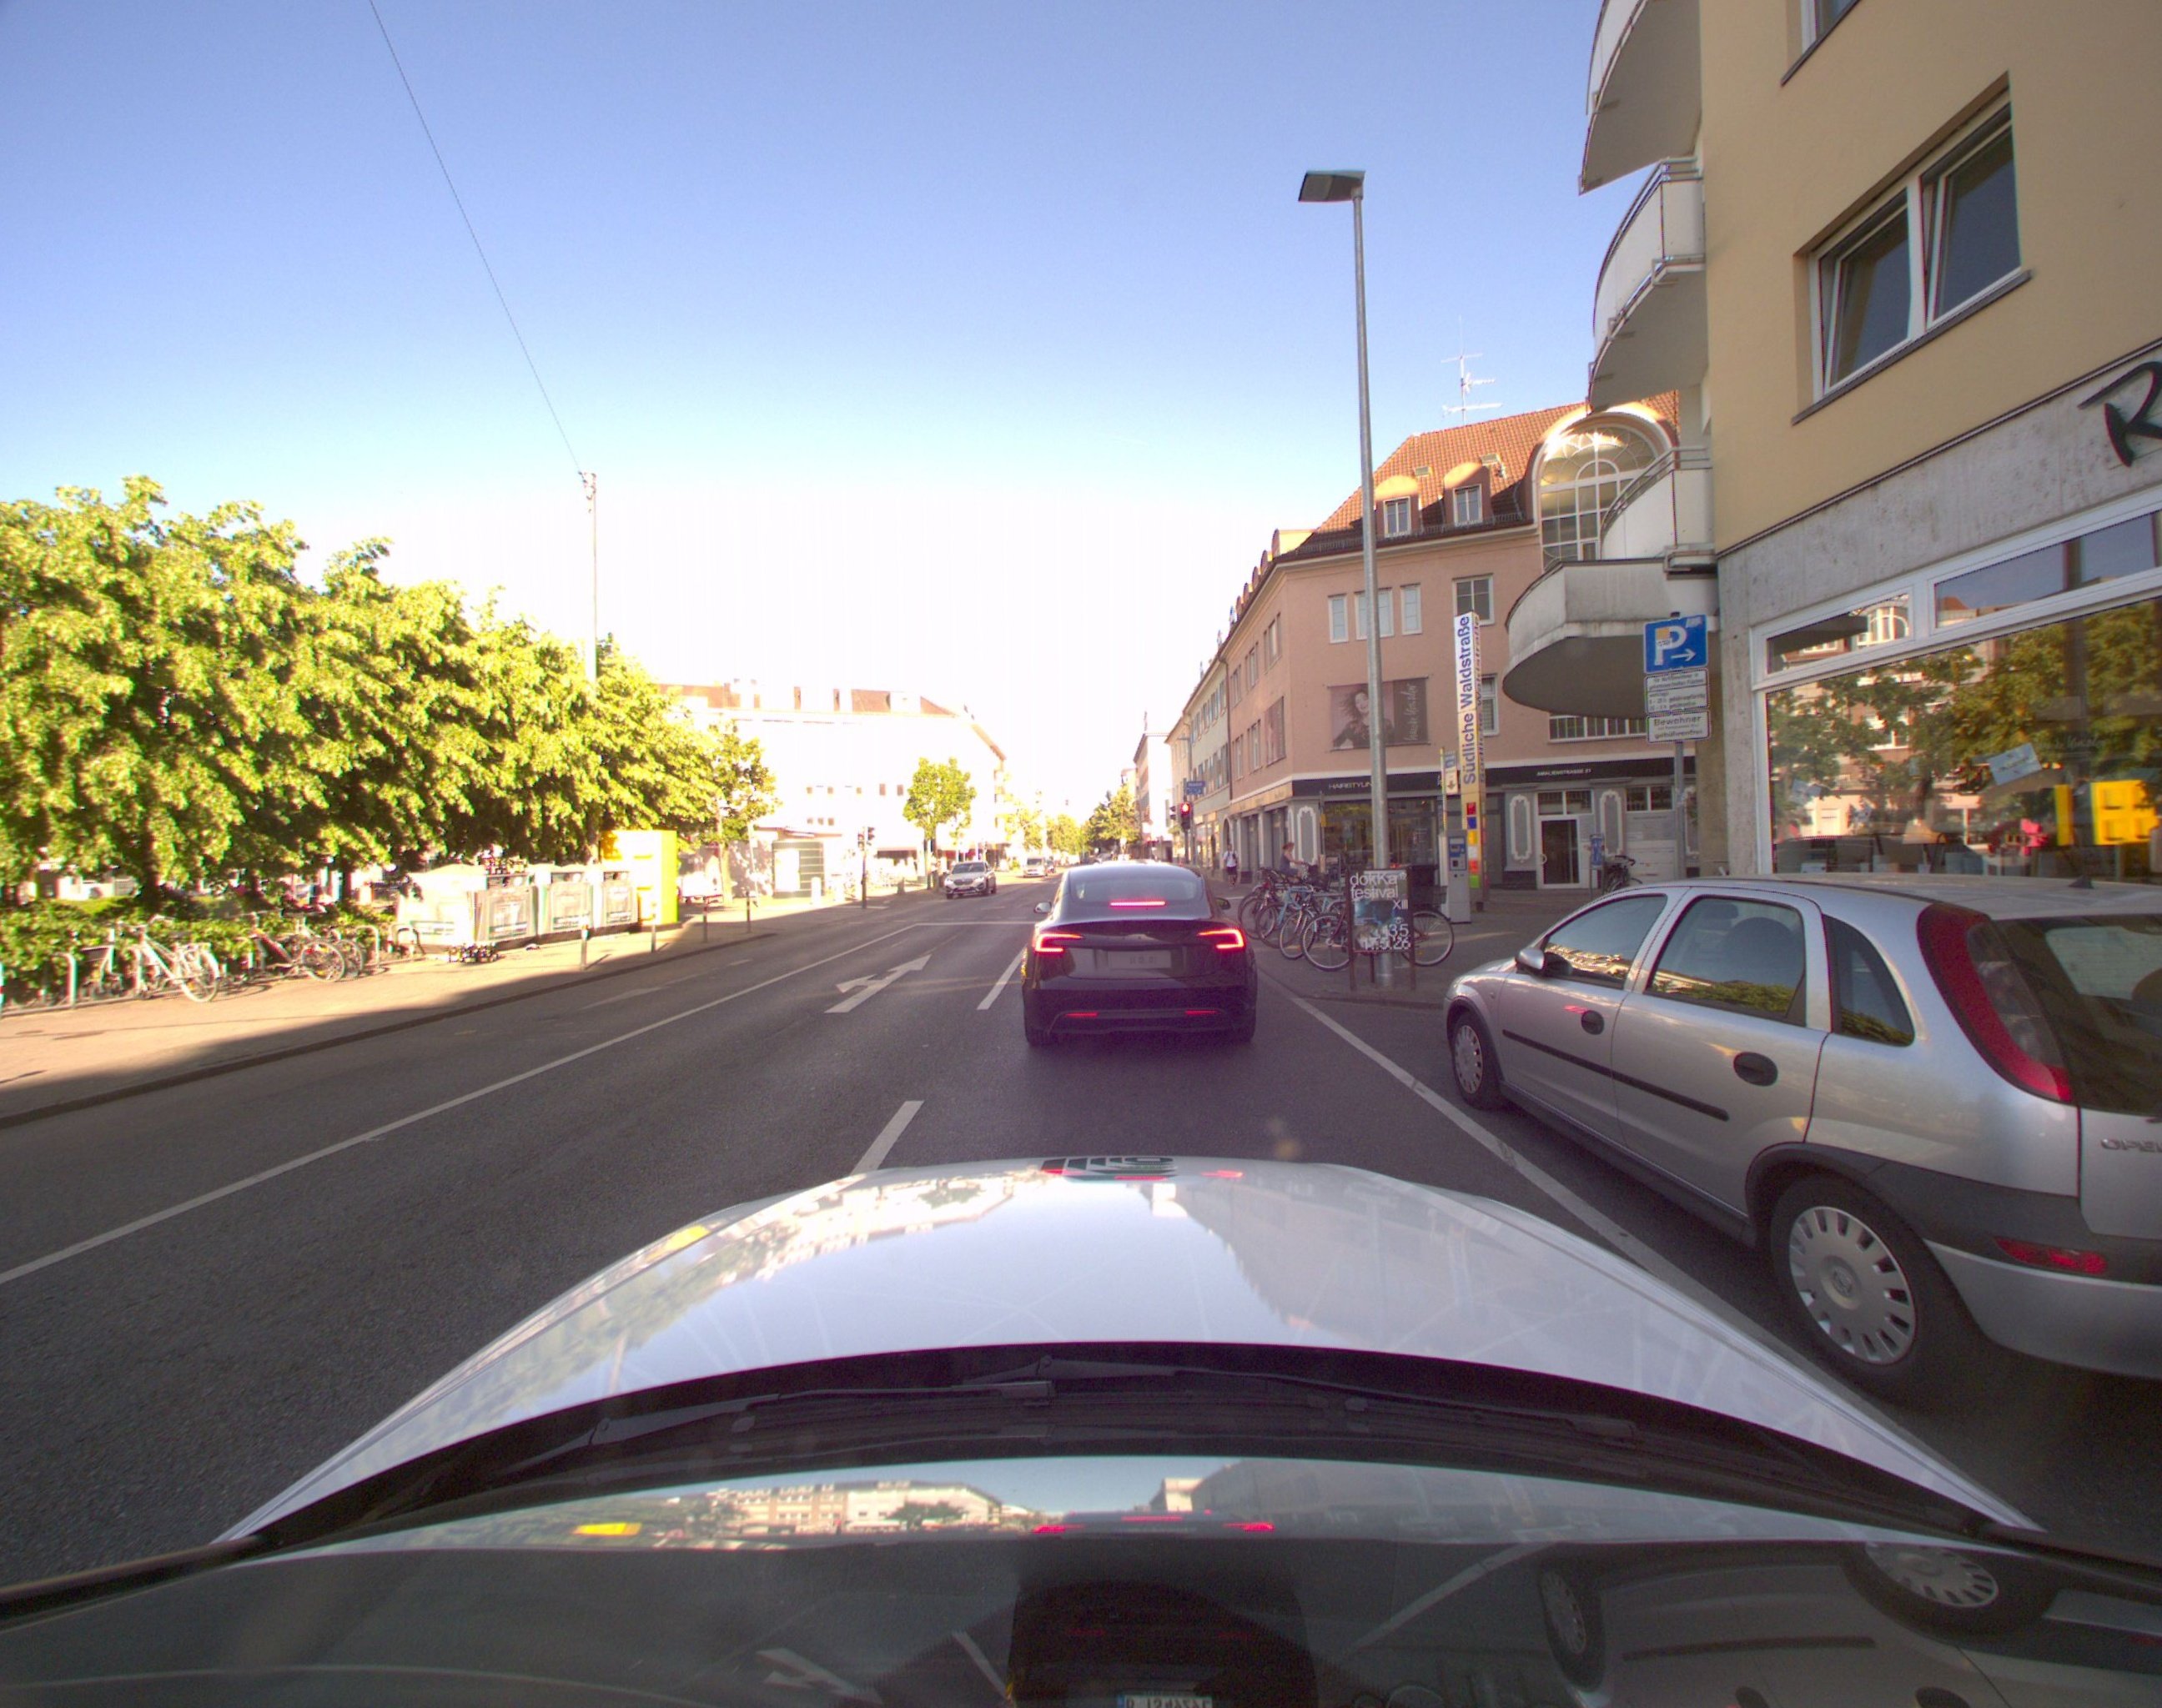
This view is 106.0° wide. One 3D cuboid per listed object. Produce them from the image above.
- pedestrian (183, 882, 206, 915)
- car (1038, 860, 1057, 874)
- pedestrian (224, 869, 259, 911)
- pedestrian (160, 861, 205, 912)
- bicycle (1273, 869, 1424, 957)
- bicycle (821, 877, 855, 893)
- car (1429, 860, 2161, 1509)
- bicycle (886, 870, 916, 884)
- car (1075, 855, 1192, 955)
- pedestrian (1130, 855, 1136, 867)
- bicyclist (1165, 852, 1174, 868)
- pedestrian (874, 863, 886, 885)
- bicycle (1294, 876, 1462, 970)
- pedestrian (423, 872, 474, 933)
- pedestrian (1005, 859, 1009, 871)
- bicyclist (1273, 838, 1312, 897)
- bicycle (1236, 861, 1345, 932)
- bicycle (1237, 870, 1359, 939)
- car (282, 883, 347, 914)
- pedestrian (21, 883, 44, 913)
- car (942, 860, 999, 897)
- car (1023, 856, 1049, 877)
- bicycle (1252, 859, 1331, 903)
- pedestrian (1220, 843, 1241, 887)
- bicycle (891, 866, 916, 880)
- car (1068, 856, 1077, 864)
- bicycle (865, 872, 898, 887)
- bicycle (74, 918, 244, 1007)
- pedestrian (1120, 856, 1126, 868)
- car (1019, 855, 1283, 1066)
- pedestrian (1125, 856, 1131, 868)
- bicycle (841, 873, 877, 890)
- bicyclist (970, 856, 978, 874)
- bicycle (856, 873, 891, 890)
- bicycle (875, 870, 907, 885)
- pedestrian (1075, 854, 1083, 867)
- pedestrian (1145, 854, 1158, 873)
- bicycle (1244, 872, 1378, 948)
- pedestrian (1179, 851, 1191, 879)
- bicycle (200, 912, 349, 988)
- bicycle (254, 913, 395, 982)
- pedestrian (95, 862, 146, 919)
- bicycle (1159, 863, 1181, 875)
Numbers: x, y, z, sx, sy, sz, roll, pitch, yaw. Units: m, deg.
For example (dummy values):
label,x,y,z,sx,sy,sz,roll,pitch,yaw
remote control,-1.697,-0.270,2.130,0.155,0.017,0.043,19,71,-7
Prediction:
label,x,y,z,sx,sy,sz,roll,pitch,yaw
pedestrian,-48.863,2.442,44.890,0.842,1.717,0.761,-2,-1,35
car,-3.487,1.361,85.331,1.709,1.446,3.846,0,-1,2
pedestrian,-35.420,1.513,34.362,0.754,1.698,0.793,-1,0,25
pedestrian,-36.084,1.301,32.715,0.890,2.013,0.893,-1,0,15
bicycle,3.650,0.810,11.192,1.864,1.087,0.415,-3,-1,5
bicycle,-12.840,1.636,43.077,1.640,0.792,0.606,0,-1,-3
car,2.953,0.736,3.508,1.540,1.390,3.479,-1,-1,3
bicycle,-12.189,1.552,55.077,1.857,0.934,0.606,-1,0,0
car,0.794,0.752,13.925,1.712,1.425,3.757,-1,0,0
pedestrian,6.072,0.833,95.934,0.524,1.422,0.475,0,-1,-28
bicyclist,7.743,0.516,71.316,0.670,1.395,0.460,0,-1,-14
pedestrian,-18.321,1.839,74.239,1.060,2.014,1.049,0,-1,-18
bicycle,3.615,0.841,10.006,1.862,1.038,0.354,-3,-1,8
pedestrian,-21.734,1.642,28.004,1.051,2.014,0.971,0,-1,-10
pedestrian,-9.006,1.287,99.273,0.459,1.460,0.517,-1,0,-3
bicyclist,5.541,0.351,21.299,0.883,1.482,0.705,-2,-1,18
bicycle,3.776,0.763,14.785,1.818,1.169,0.507,-3,-1,7
bicycle,3.608,0.842,13.623,1.863,1.038,0.548,-3,-1,7
car,-37.956,2.178,40.311,3.526,1.386,1.703,-1,0,36
pedestrian,-77.909,3.259,60.497,0.891,2.171,0.882,-1,-1,26
car,-4.881,1.050,36.429,1.782,1.460,3.759,-4,-1,2
car,-3.720,0.991,68.189,1.780,1.646,4.404,-1,0,2
bicycle,5.508,0.705,21.292,1.918,1.118,0.712,-1,-1,19
pedestrian,6.152,0.455,33.568,0.747,1.765,0.838,-2,-1,6
bicycle,-17.126,1.821,78.617,2.373,1.296,0.509,0,-1,-25
car,-1.940,1.375,187.276,1.986,2.013,4.001,-1,0,2
bicycle,-12.306,1.580,50.275,1.857,0.934,0.606,0,-1,0
bicycle,-11.624,1.345,10.274,1.919,1.015,0.518,-1,-1,12
pedestrian,4.933,0.889,95.823,0.474,1.417,0.517,0,-1,-29
car,0.551,0.764,7.703,1.815,1.442,4.001,-1,-1,2
pedestrian,5.539,0.977,95.089,0.524,1.422,0.475,0,-1,-28
bicycle,-12.432,1.535,45.651,1.857,0.934,0.606,-1,0,0
bicyclist,-8.751,0.906,66.452,0.525,1.503,0.473,0,-1,-22
bicycle,-12.181,1.618,47.796,1.857,0.934,0.606,0,-1,0
bicycle,-12.269,1.533,52.629,1.857,0.934,0.606,-1,0,0
pedestrian,-0.299,0.905,108.070,0.719,1.695,0.843,-1,0,-26
pedestrian,6.019,0.782,69.415,0.756,1.631,0.951,0,-1,-16
bicycle,3.490,0.855,12.482,1.864,1.038,0.534,-3,-1,5
pedestrian,6.563,0.675,51.427,0.704,1.742,0.540,-1,-2,1
bicycle,-11.517,1.355,11.634,1.913,1.003,0.518,-1,-1,11
bicycle,-11.322,1.376,12.198,1.888,0.955,0.518,-1,-1,11
pedestrian,-34.898,1.319,29.591,0.890,2.013,0.893,-1,0,15
bicycle,7.796,1.290,71.321,1.787,1.007,0.469,0,-1,-15
